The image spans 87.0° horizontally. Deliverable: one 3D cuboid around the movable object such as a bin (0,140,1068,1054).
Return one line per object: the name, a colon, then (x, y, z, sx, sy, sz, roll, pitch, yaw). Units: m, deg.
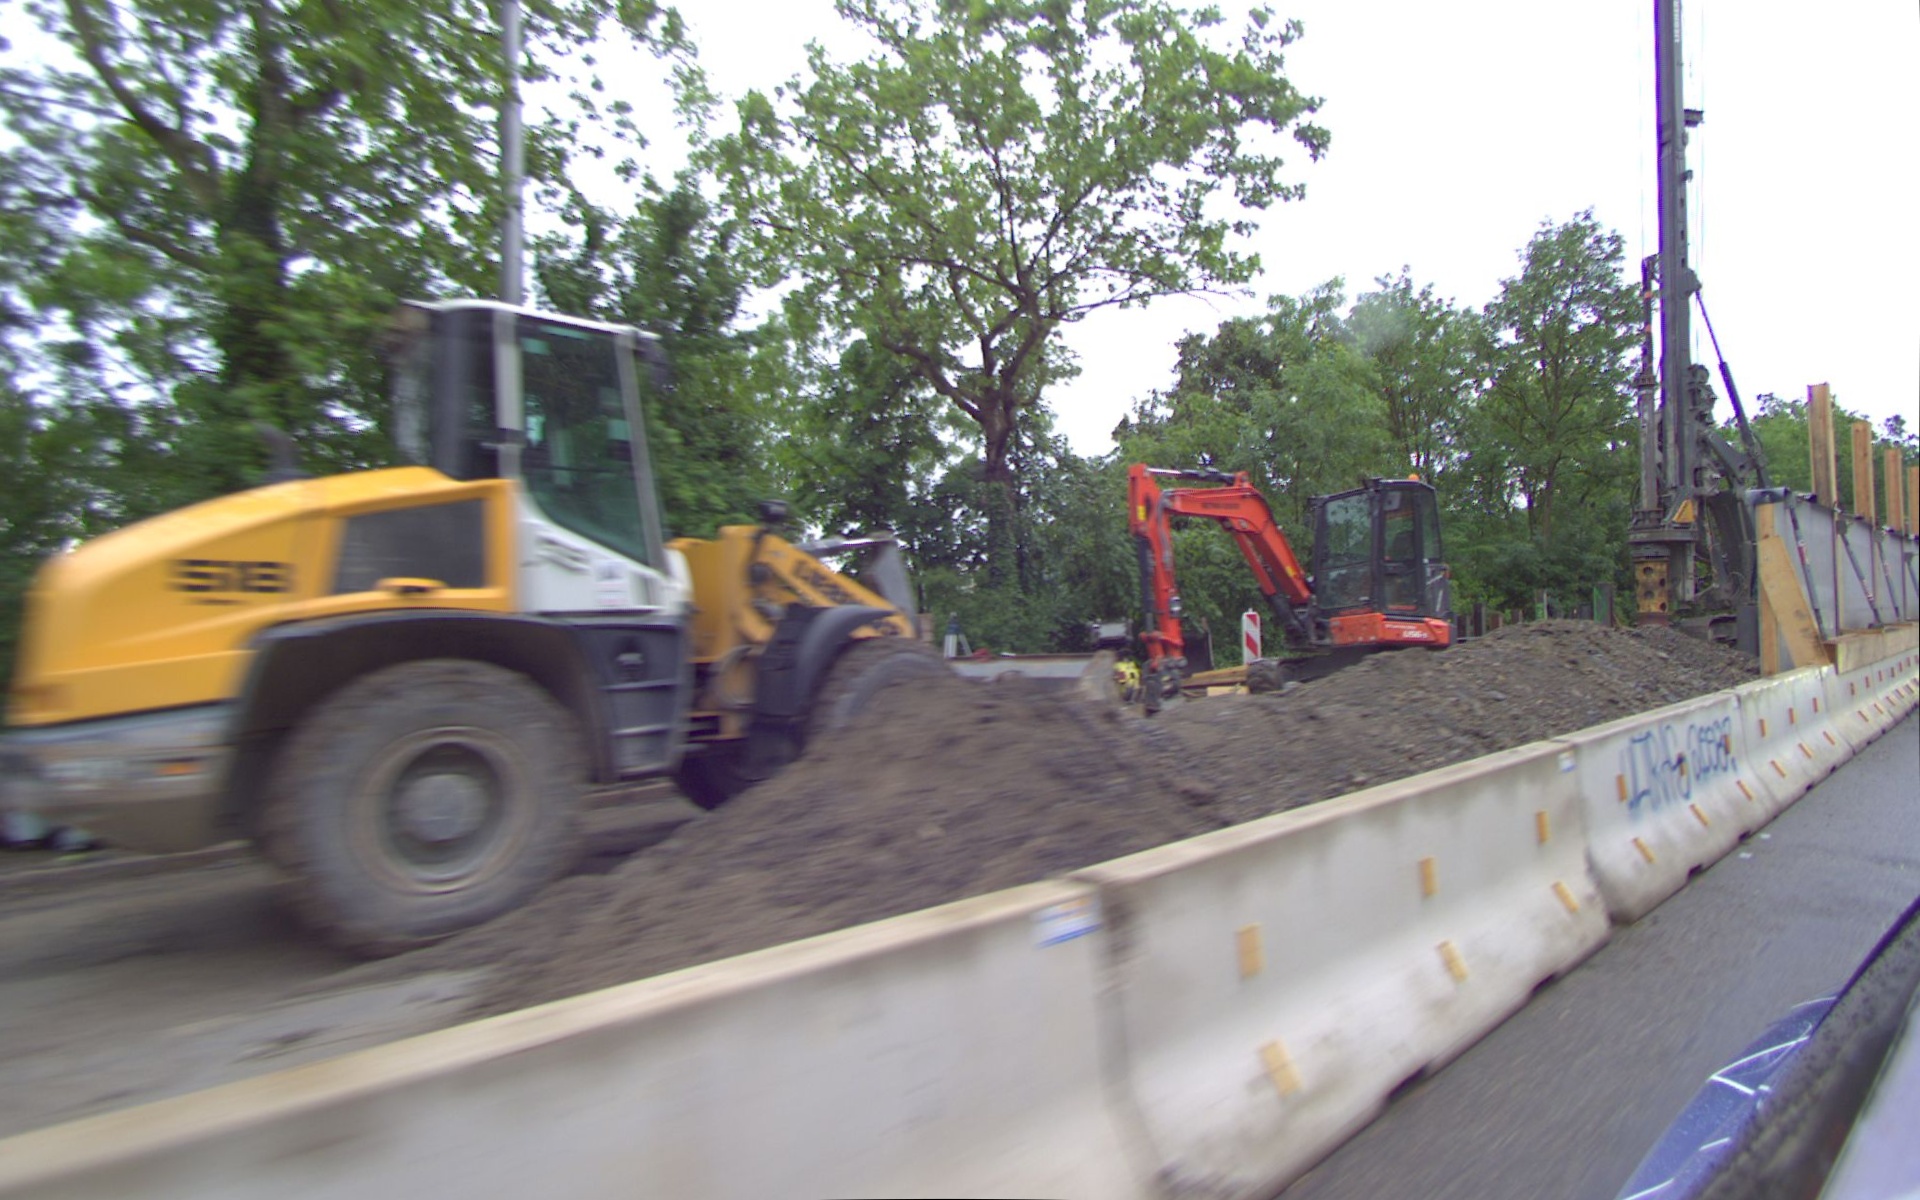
movable object such as a bin: (-2.254, -0.032, 5.902, 5.489, 3.115, 2.498, -1, -2, -39)

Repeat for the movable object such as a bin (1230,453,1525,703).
movable object such as a bin: (5.179, -0.225, 12.495, 3.122, 2.635, 2.098, -1, -2, -41)

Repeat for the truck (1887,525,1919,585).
truck: (35.634, -1.650, 36.801, 3.248, 2.134, 2.554, -1, 0, -42)

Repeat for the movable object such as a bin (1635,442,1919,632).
movable object such as a bin: (24.524, -1.781, 29.909, 7.013, 5.130, 3.701, -1, 0, -13)
